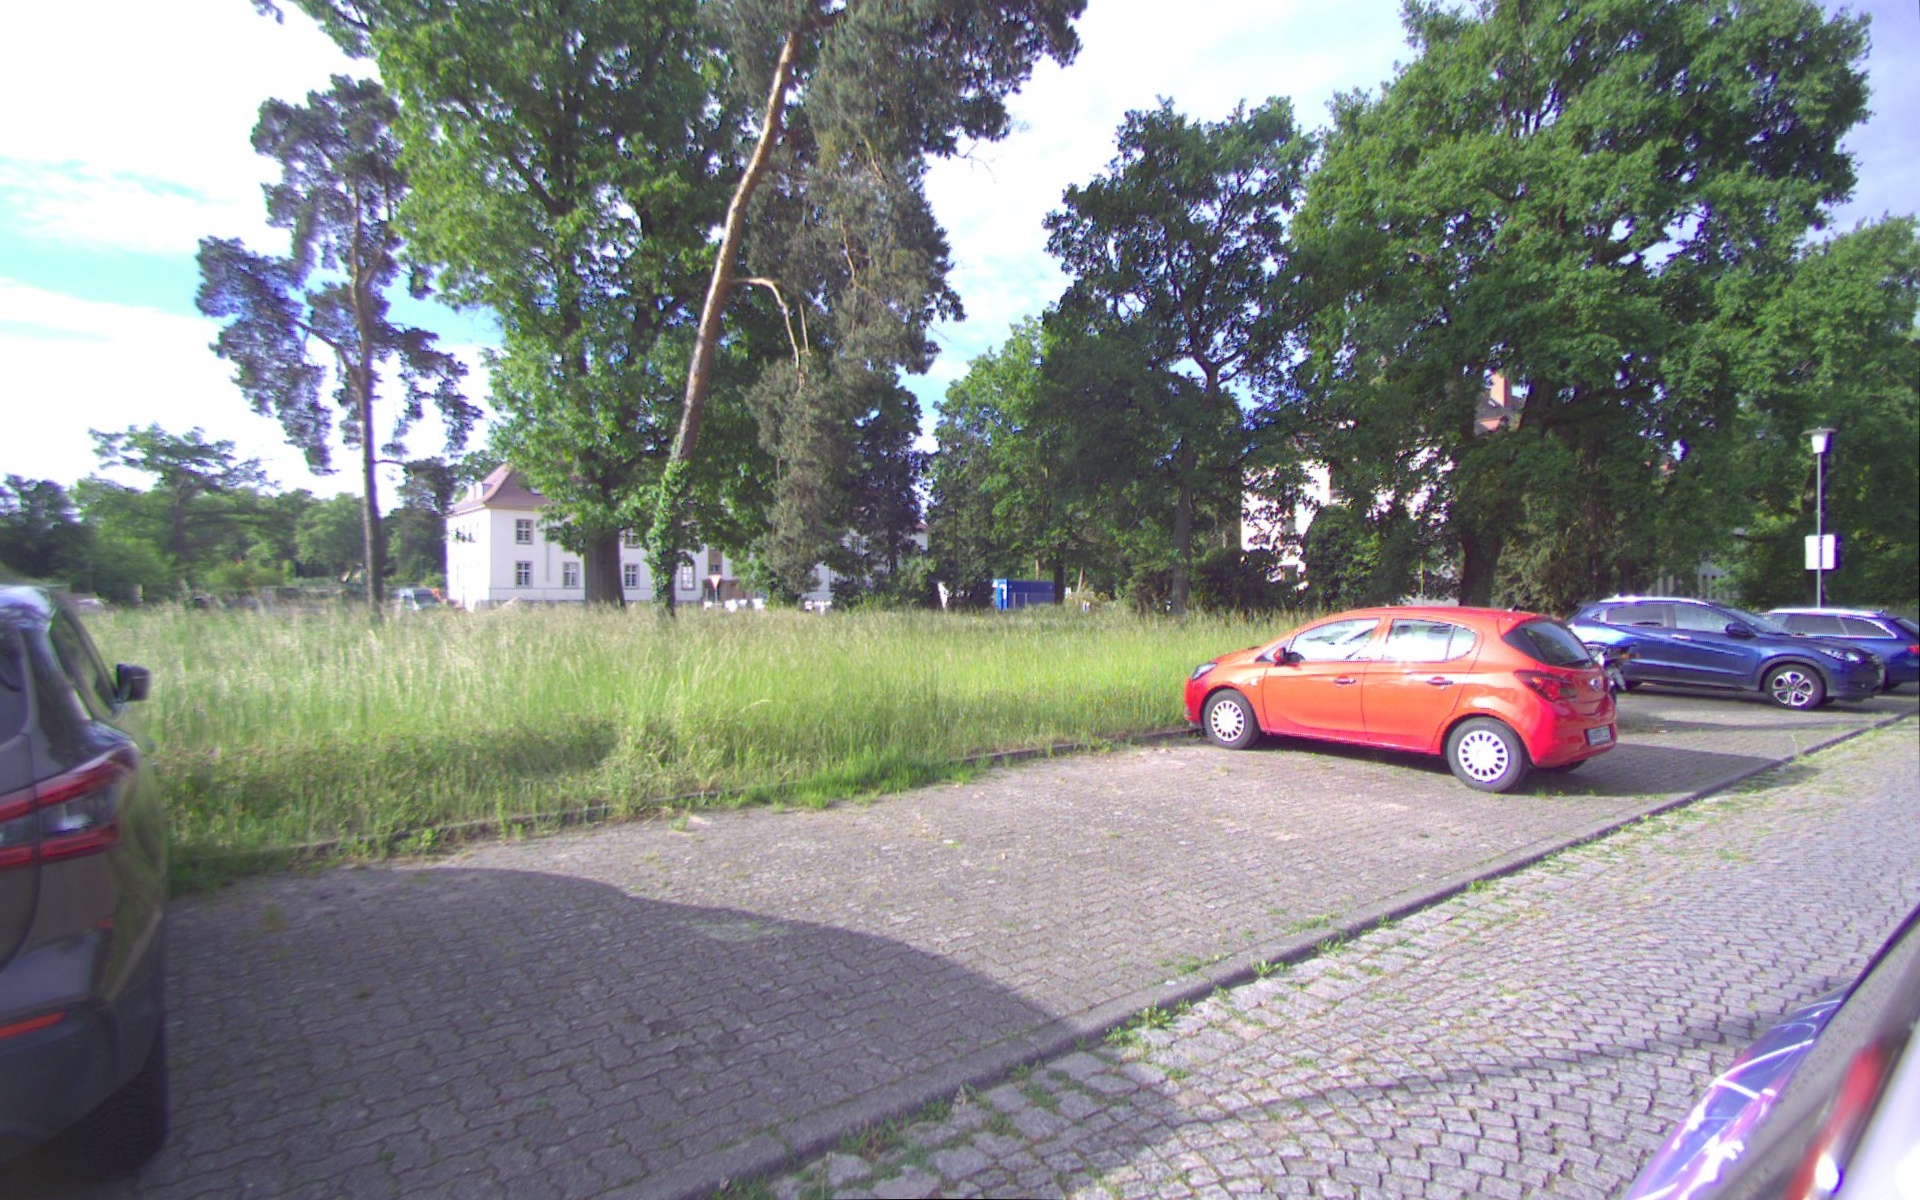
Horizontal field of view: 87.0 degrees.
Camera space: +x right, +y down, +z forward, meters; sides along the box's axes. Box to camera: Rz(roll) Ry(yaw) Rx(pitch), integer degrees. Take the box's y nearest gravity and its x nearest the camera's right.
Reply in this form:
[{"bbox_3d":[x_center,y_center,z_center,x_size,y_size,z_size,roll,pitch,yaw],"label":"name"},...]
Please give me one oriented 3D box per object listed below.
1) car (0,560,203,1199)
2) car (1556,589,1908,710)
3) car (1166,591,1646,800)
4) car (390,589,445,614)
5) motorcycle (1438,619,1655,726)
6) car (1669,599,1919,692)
[{"bbox_3d":[-3.695,0.692,3.244,1.845,1.608,4.200,-1,2,-39],"label":"car"},{"bbox_3d":[11.979,0.649,15.950,1.715,1.588,4.135,-1,1,-39],"label":"car"},{"bbox_3d":[4.044,0.710,9.702,1.657,1.491,3.885,-1,2,-39],"label":"car"},{"bbox_3d":[-45.841,0.071,85.473,5.648,2.039,2.591,0,1,45],"label":"car"},{"bbox_3d":[7.318,0.858,12.766,0.595,1.127,2.308,0,2,-37],"label":"motorcycle"},{"bbox_3d":[15.726,0.760,18.647,1.750,1.468,4.038,-1,1,-36],"label":"car"}]
